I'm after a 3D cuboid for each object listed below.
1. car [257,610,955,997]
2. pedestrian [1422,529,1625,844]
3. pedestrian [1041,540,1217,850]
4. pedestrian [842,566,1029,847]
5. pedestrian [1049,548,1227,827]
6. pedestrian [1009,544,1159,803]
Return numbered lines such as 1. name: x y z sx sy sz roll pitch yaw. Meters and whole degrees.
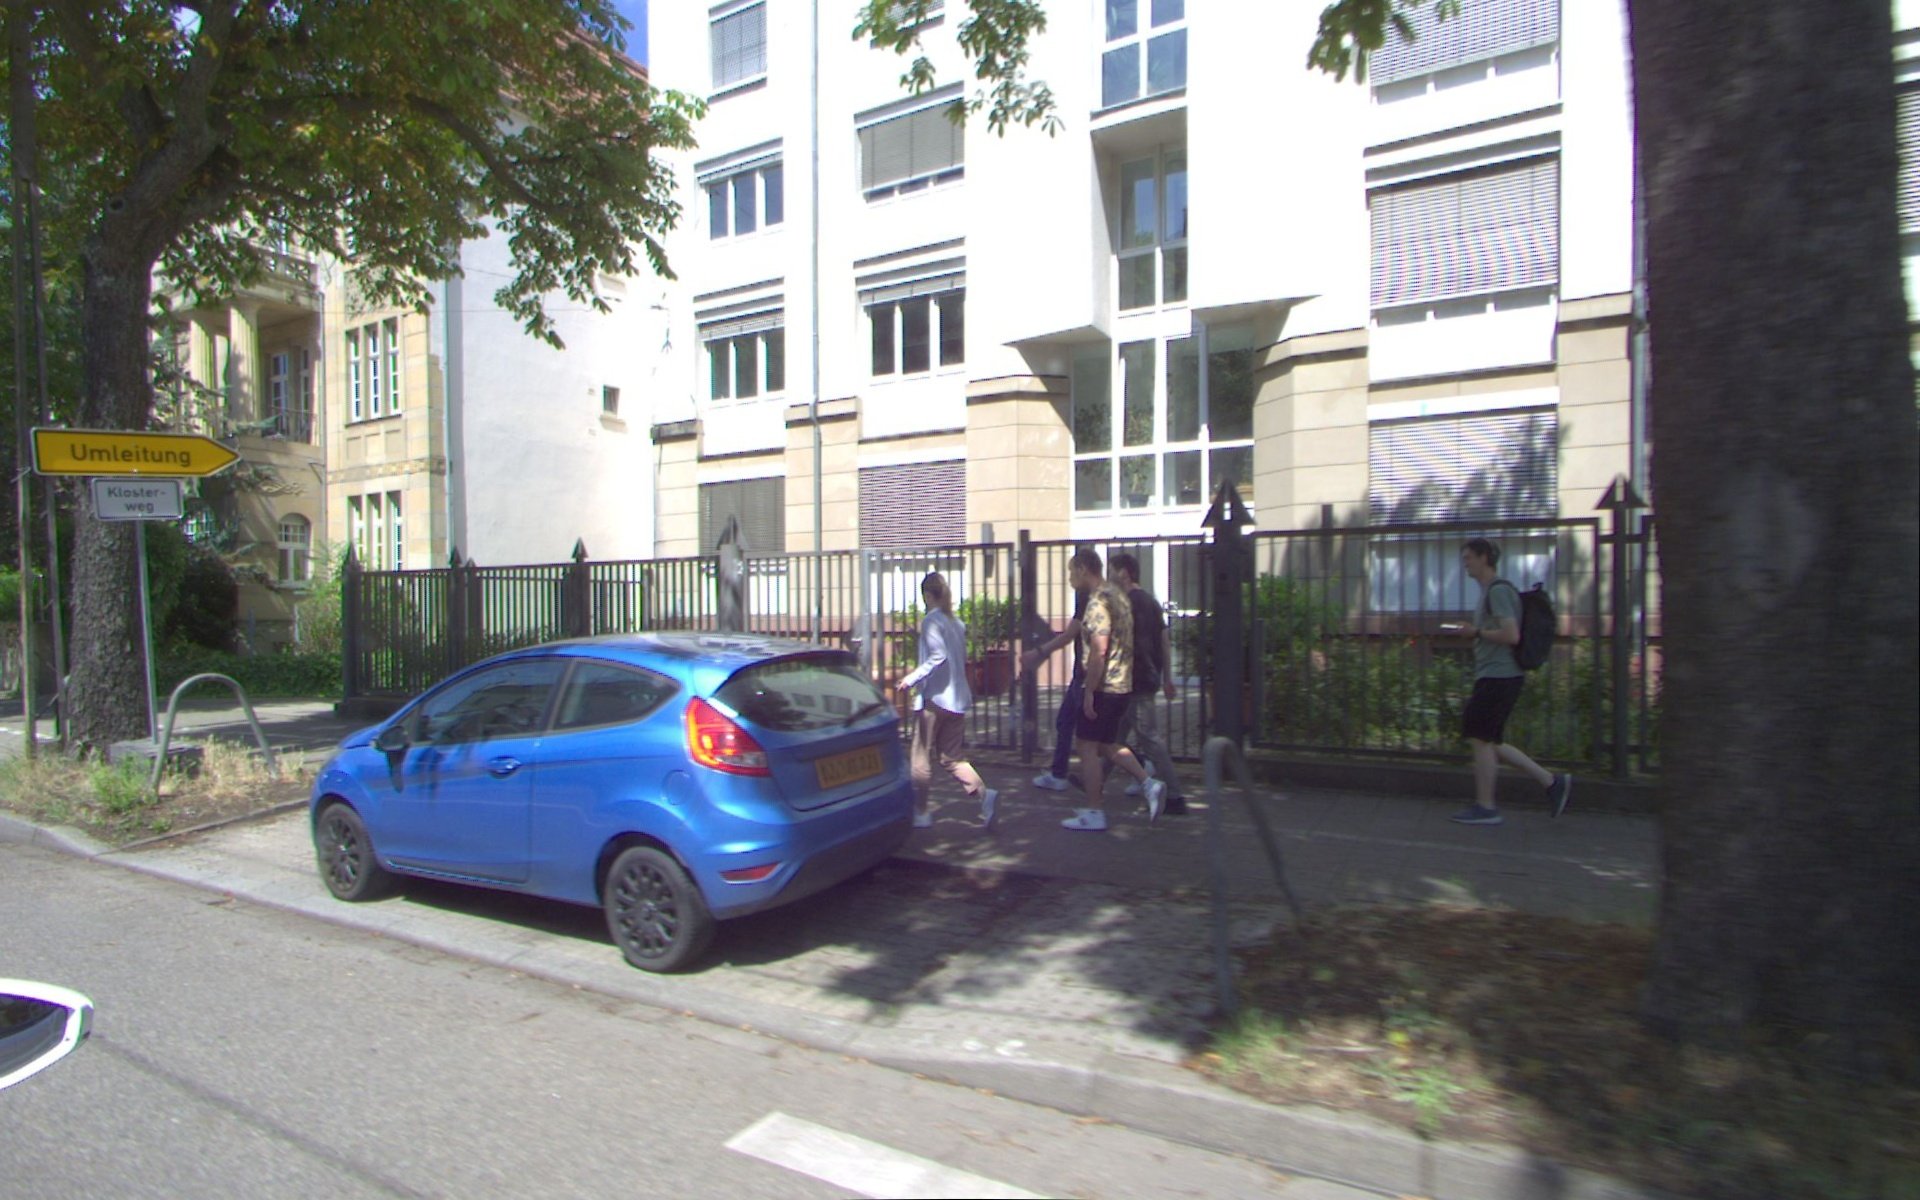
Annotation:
1. car: -2.051 0.856 5.691 3.664 1.464 1.674 0 4 29
2. pedestrian: 3.546 0.509 6.357 1.068 1.821 0.683 0 0 30
3. pedestrian: 1.081 0.559 6.356 0.932 1.800 0.704 0 0 28
4. pedestrian: -0.152 0.640 6.545 0.960 1.673 0.765 0 0 31
5. pedestrian: 1.253 0.567 6.991 1.035 1.785 0.787 0 0 28
6. pedestrian: 0.947 0.530 7.616 0.962 1.835 0.660 0 0 30
